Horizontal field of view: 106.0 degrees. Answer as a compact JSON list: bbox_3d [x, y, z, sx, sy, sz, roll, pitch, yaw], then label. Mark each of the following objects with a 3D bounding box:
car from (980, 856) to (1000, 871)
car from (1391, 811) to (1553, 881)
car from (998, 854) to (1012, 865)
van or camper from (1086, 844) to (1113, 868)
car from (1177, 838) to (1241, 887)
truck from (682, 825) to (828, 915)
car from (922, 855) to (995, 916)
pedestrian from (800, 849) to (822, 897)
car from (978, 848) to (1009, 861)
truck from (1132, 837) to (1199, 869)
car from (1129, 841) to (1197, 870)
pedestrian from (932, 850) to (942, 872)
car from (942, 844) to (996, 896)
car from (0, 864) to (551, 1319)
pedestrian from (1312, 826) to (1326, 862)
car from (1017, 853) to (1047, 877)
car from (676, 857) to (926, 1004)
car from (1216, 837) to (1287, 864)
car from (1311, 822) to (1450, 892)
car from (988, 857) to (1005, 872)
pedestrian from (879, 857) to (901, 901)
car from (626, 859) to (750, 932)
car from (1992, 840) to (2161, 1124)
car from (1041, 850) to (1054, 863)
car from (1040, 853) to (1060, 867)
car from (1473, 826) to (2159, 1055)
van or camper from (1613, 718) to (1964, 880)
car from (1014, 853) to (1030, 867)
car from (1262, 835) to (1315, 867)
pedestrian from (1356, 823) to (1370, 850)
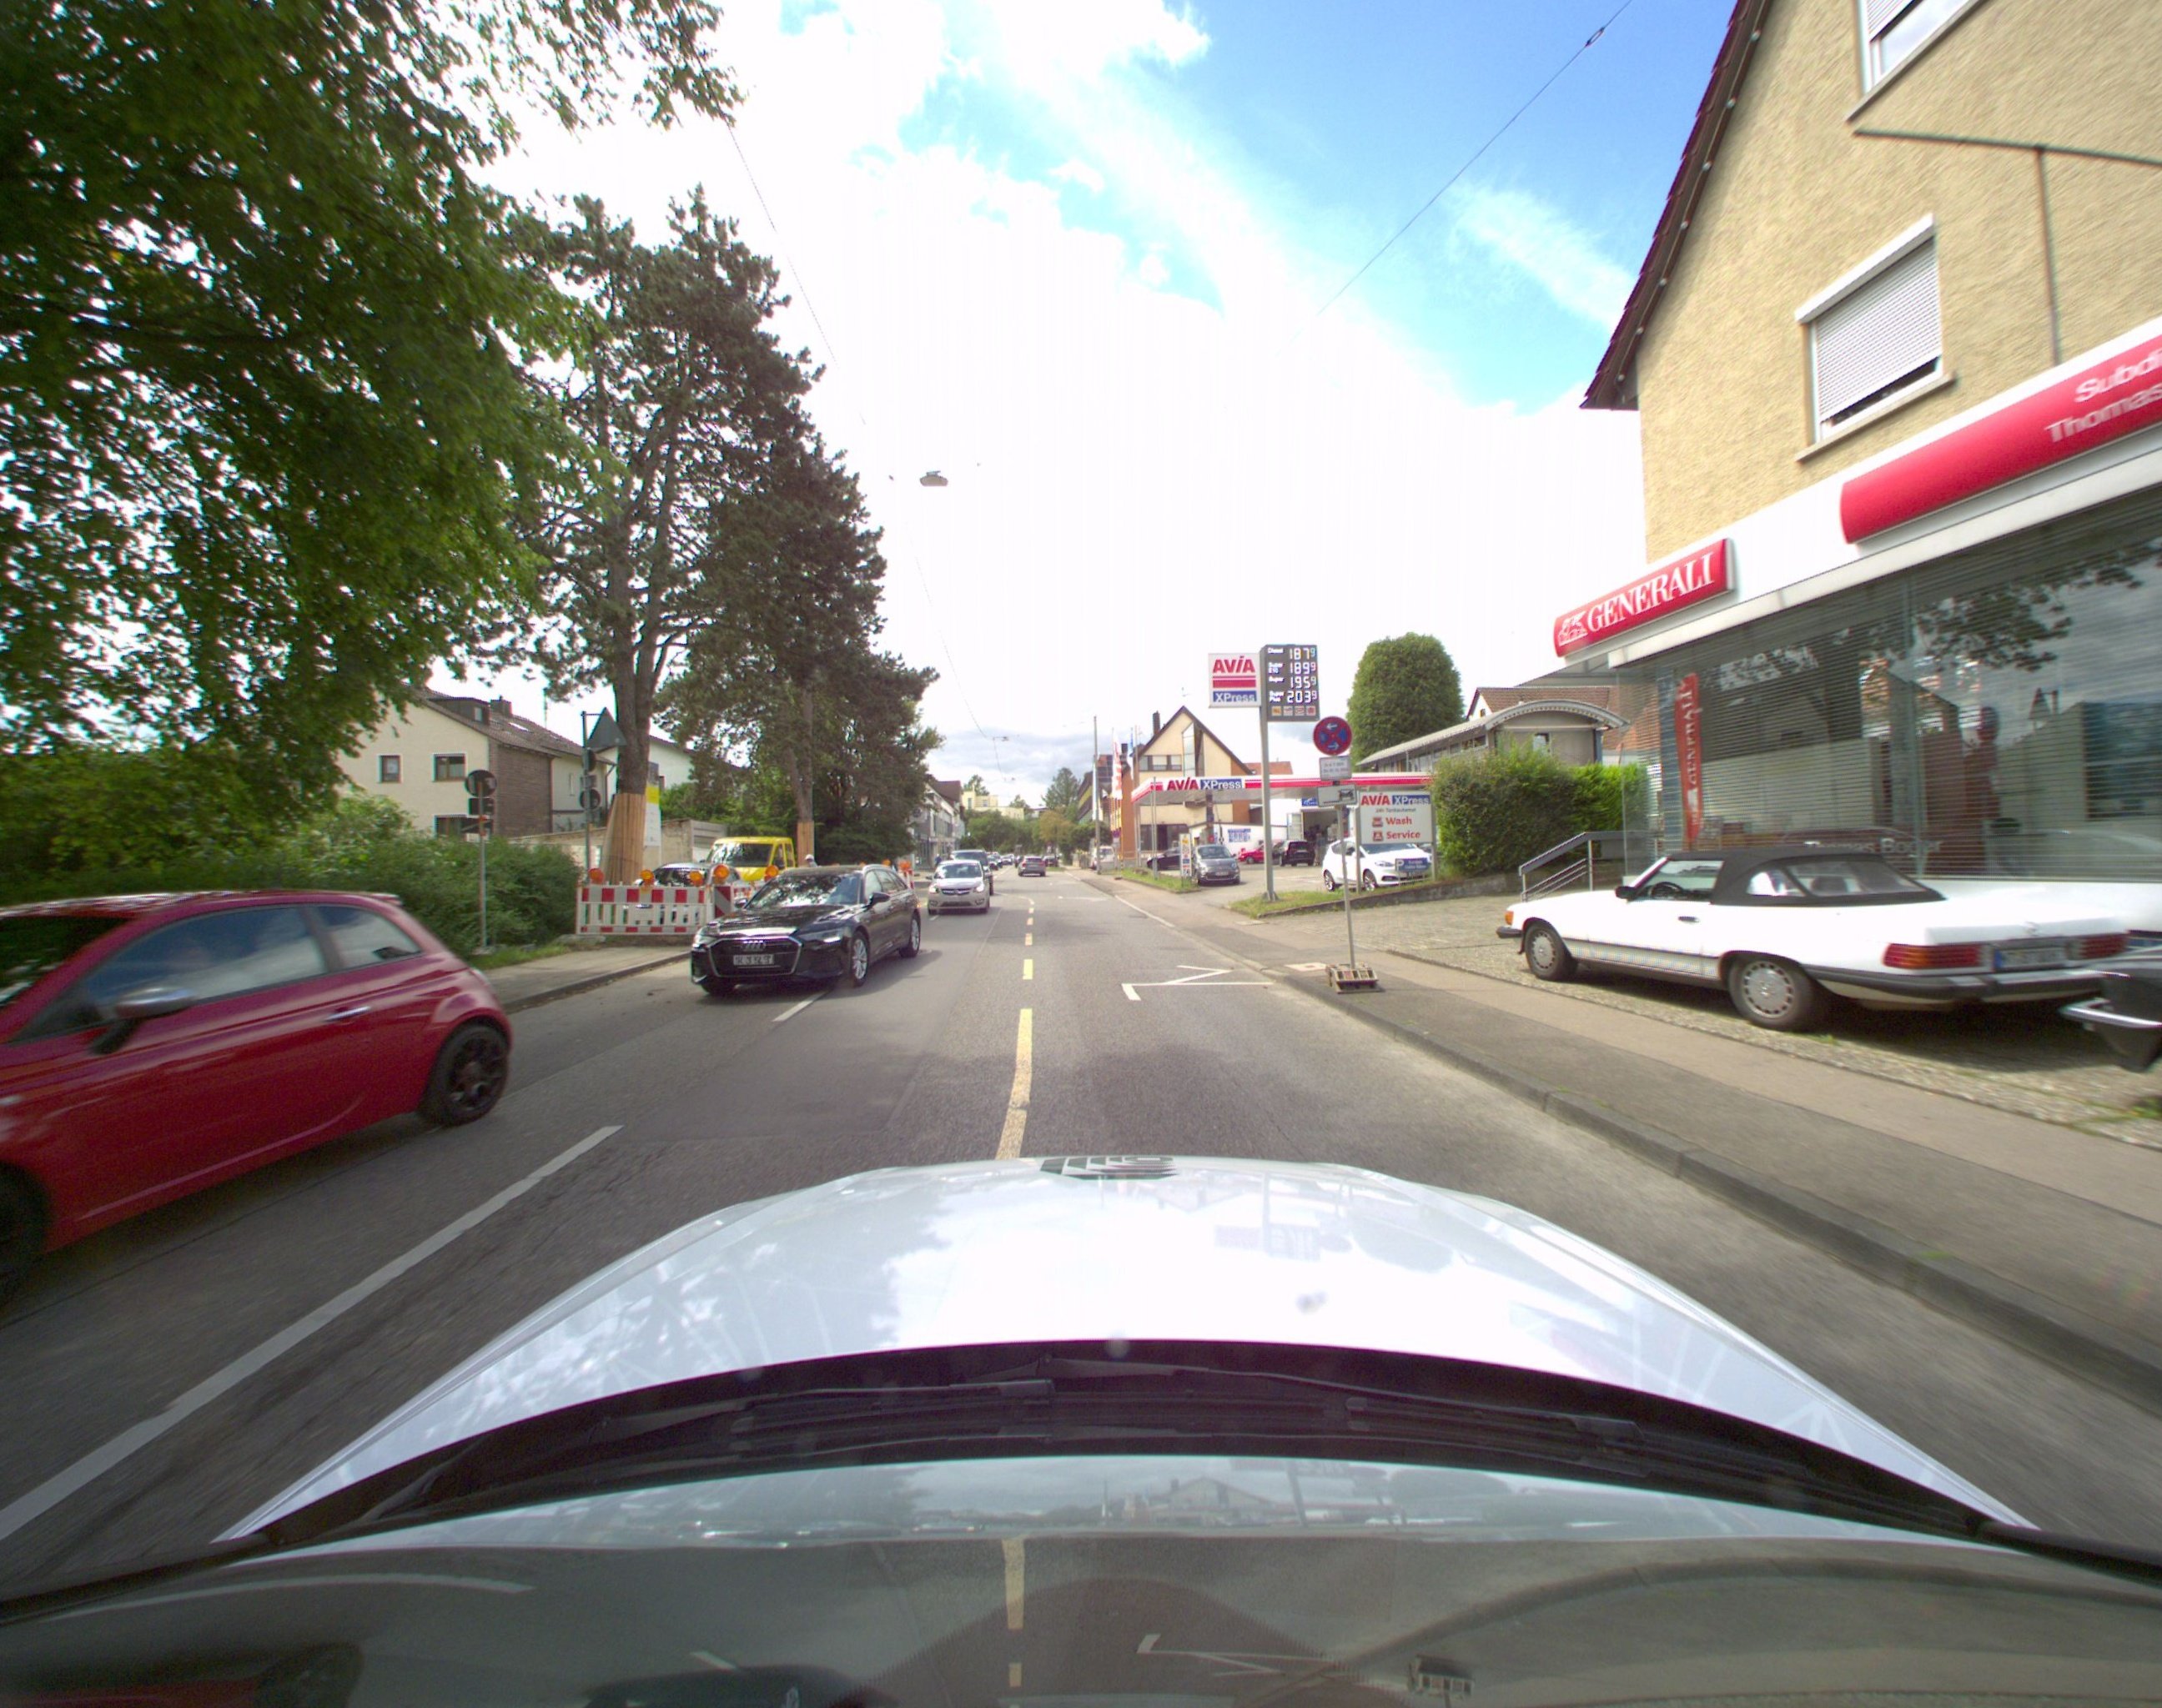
[{"bbox_3d":[-9.313,0.996,83.716,1.737,1.429,4.518,-3,0,-3],"label":"car"},{"bbox_3d":[10.444,-0.154,22.193,1.710,1.542,4.647,-6,-1,-6],"label":"car"},{"bbox_3d":[-10.987,0.837,117.165,1.829,1.523,4.161,-2,-1,-7],"label":"car"},{"bbox_3d":[1.589,0.178,70.919,1.864,2.032,4.539,0,-1,-5],"label":"van or camper"},{"bbox_3d":[4.938,0.322,31.826,1.611,1.595,4.157,-8,0,-1],"label":"car"},{"bbox_3d":[-9.791,0.485,25.150,2.300,2.420,6.086,-1,-1,-3],"label":"truck"},{"bbox_3d":[-3.405,0.846,23.169,1.611,1.523,3.566,-2,-1,-3],"label":"car"},{"bbox_3d":[-8.727,0.609,26.368,0.573,1.547,0.653,0,-1,-9],"label":"pedestrian"},{"bbox_3d":[-16.391,0.131,152.259,5.174,1.993,2.117,-4,0,14],"label":"car"},{"bbox_3d":[6.792,-0.129,65.876,5.078,2.457,2.354,-1,1,-5],"label":"truck"},{"bbox_3d":[5.600,0.106,55.730,4.263,1.630,1.646,-4,1,31],"label":"car"},{"bbox_3d":[-11.769,0.578,66.569,0.681,1.737,0.867,0,-1,-5],"label":"pedestrian"},{"bbox_3d":[-4.749,0.598,33.978,1.910,1.952,4.894,-2,0,-11],"label":"car"},{"bbox_3d":[-4.519,0.871,3.812,1.609,1.523,3.570,-3,0,1],"label":"car"},{"bbox_3d":[12.967,-0.559,44.386,0.579,1.935,0.544,-1,-1,33],"label":"pedestrian"},{"bbox_3d":[-3.627,0.850,59.775,1.953,1.524,4.318,-1,-4,-6],"label":"car"},{"bbox_3d":[-3.470,0.847,11.116,1.813,1.523,4.559,-2,-1,-1],"label":"car"},{"bbox_3d":[11.481,-0.220,54.832,4.559,1.717,1.833,-1,-1,15],"label":"car"},{"bbox_3d":[7.781,0.108,21.629,1.633,1.528,4.193,-6,-1,-7],"label":"car"},{"bbox_3d":[-10.142,1.226,97.642,1.828,1.630,4.314,-2,0,-5],"label":"car"},{"bbox_3d":[-7.056,0.929,30.040,0.564,1.601,0.540,-2,-1,40],"label":"pedestrian"},{"bbox_3d":[-8.995,0.881,18.938,1.623,1.508,3.572,0,0,-9],"label":"car"},{"bbox_3d":[5.993,0.546,2.311,1.782,1.284,4.308,-3,0,-5],"label":"car"},{"bbox_3d":[-4.558,0.343,110.082,1.685,1.666,4.458,-2,-1,-2],"label":"car"},{"bbox_3d":[-3.482,0.730,90.609,1.980,1.448,4.744,-2,-1,-4],"label":"car"},{"bbox_3d":[5.700,0.552,7.302,1.783,1.316,4.470,-3,0,-7],"label":"car"},{"bbox_3d":[15.760,-1.187,18.353,5.955,2.850,2.525,-6,0,-8],"label":"van or camper"},{"bbox_3d":[-6.963,0.704,95.770,1.613,1.523,3.561,-2,-1,-7],"label":"car"},{"bbox_3d":[11.523,-0.129,45.533,1.626,1.608,4.566,-1,-1,-2],"label":"car"},{"bbox_3d":[19.558,-1.234,56.410,0.666,1.845,0.689,-2,-2,42],"label":"pedestrian"}]
